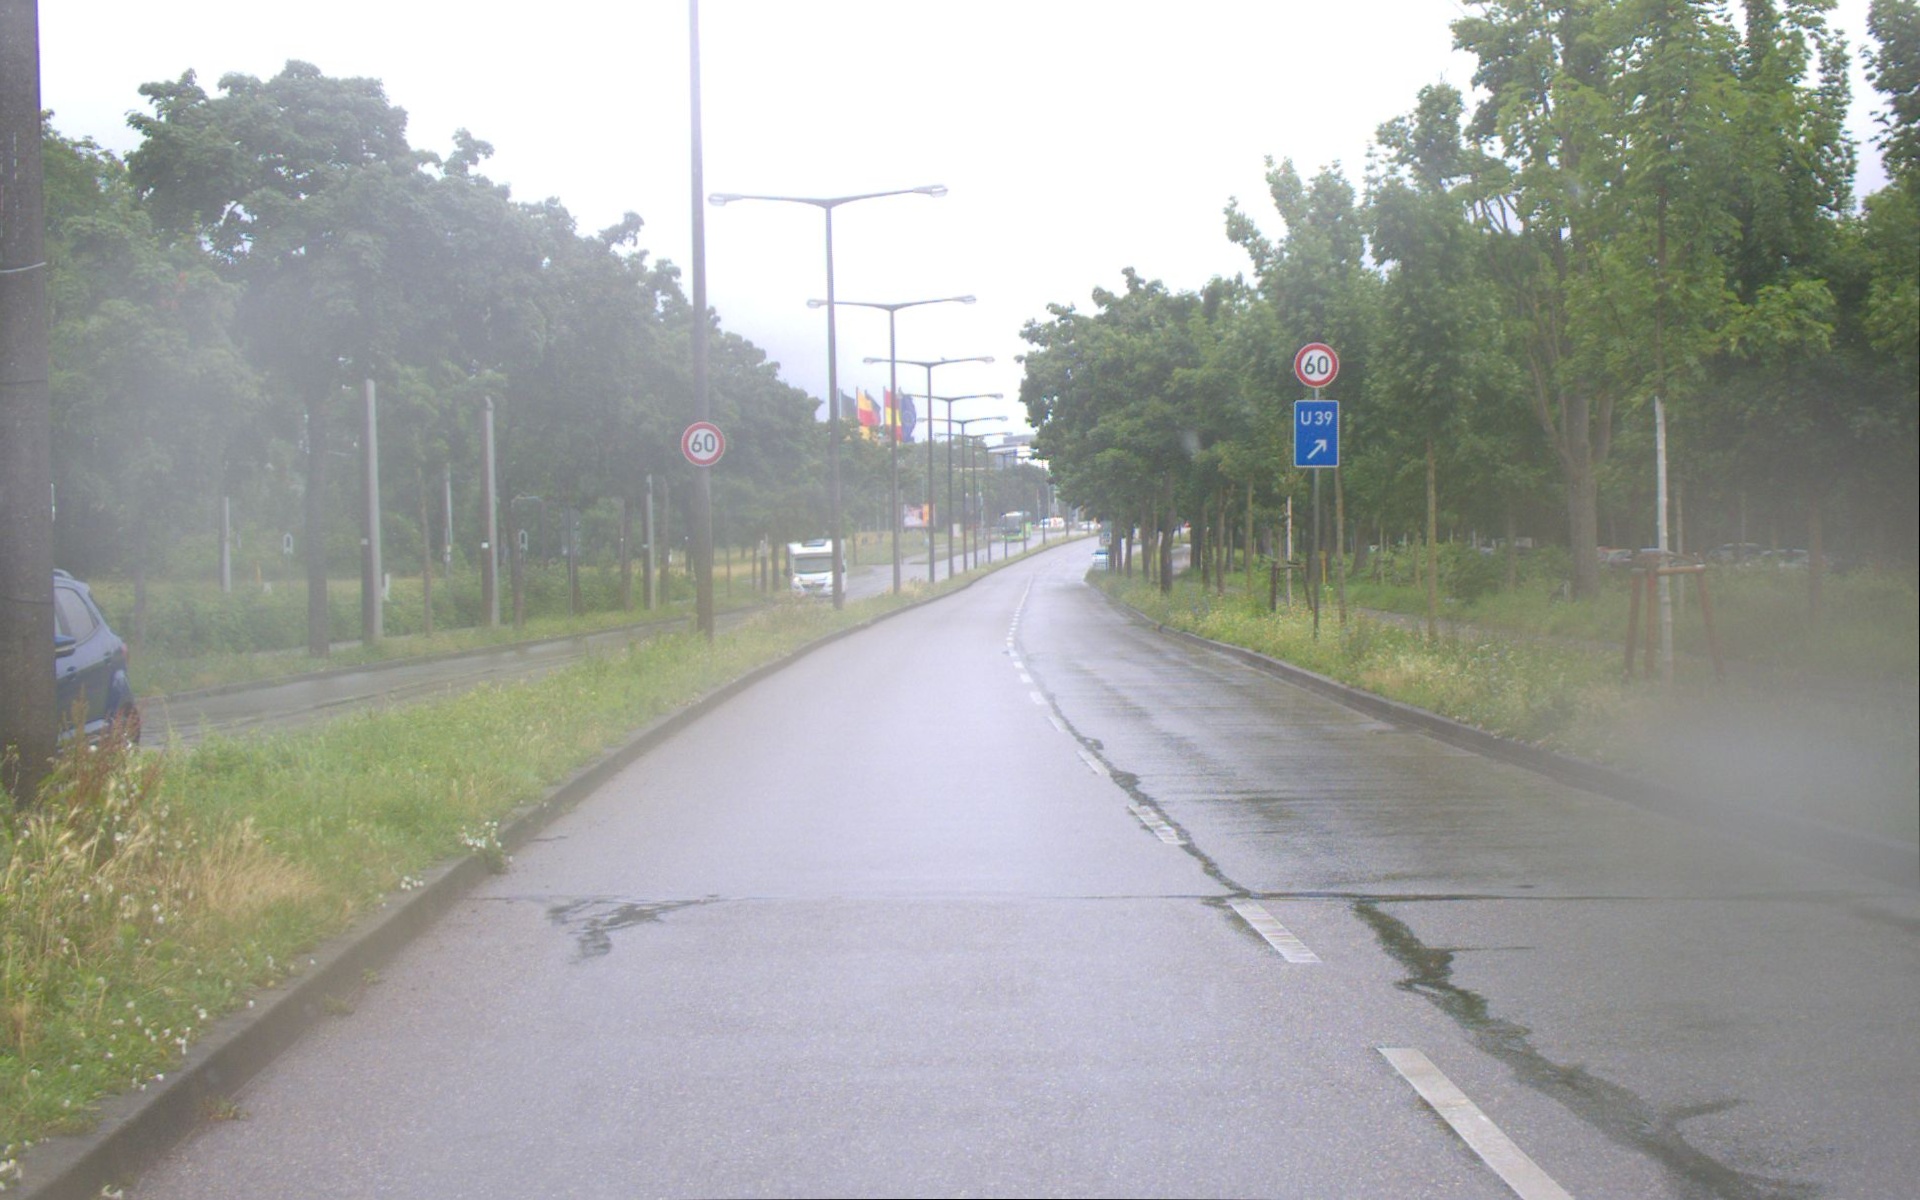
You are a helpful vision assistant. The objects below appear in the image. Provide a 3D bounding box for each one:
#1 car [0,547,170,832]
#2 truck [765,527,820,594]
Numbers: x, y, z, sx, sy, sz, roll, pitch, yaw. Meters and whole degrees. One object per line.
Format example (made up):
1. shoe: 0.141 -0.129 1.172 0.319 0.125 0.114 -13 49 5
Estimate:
1. car: -6.433 0.537 21.890 1.743 1.644 4.136 -3 1 0
2. truck: -7.466 -1.722 153.493 2.138 2.834 5.074 -3 0 0
